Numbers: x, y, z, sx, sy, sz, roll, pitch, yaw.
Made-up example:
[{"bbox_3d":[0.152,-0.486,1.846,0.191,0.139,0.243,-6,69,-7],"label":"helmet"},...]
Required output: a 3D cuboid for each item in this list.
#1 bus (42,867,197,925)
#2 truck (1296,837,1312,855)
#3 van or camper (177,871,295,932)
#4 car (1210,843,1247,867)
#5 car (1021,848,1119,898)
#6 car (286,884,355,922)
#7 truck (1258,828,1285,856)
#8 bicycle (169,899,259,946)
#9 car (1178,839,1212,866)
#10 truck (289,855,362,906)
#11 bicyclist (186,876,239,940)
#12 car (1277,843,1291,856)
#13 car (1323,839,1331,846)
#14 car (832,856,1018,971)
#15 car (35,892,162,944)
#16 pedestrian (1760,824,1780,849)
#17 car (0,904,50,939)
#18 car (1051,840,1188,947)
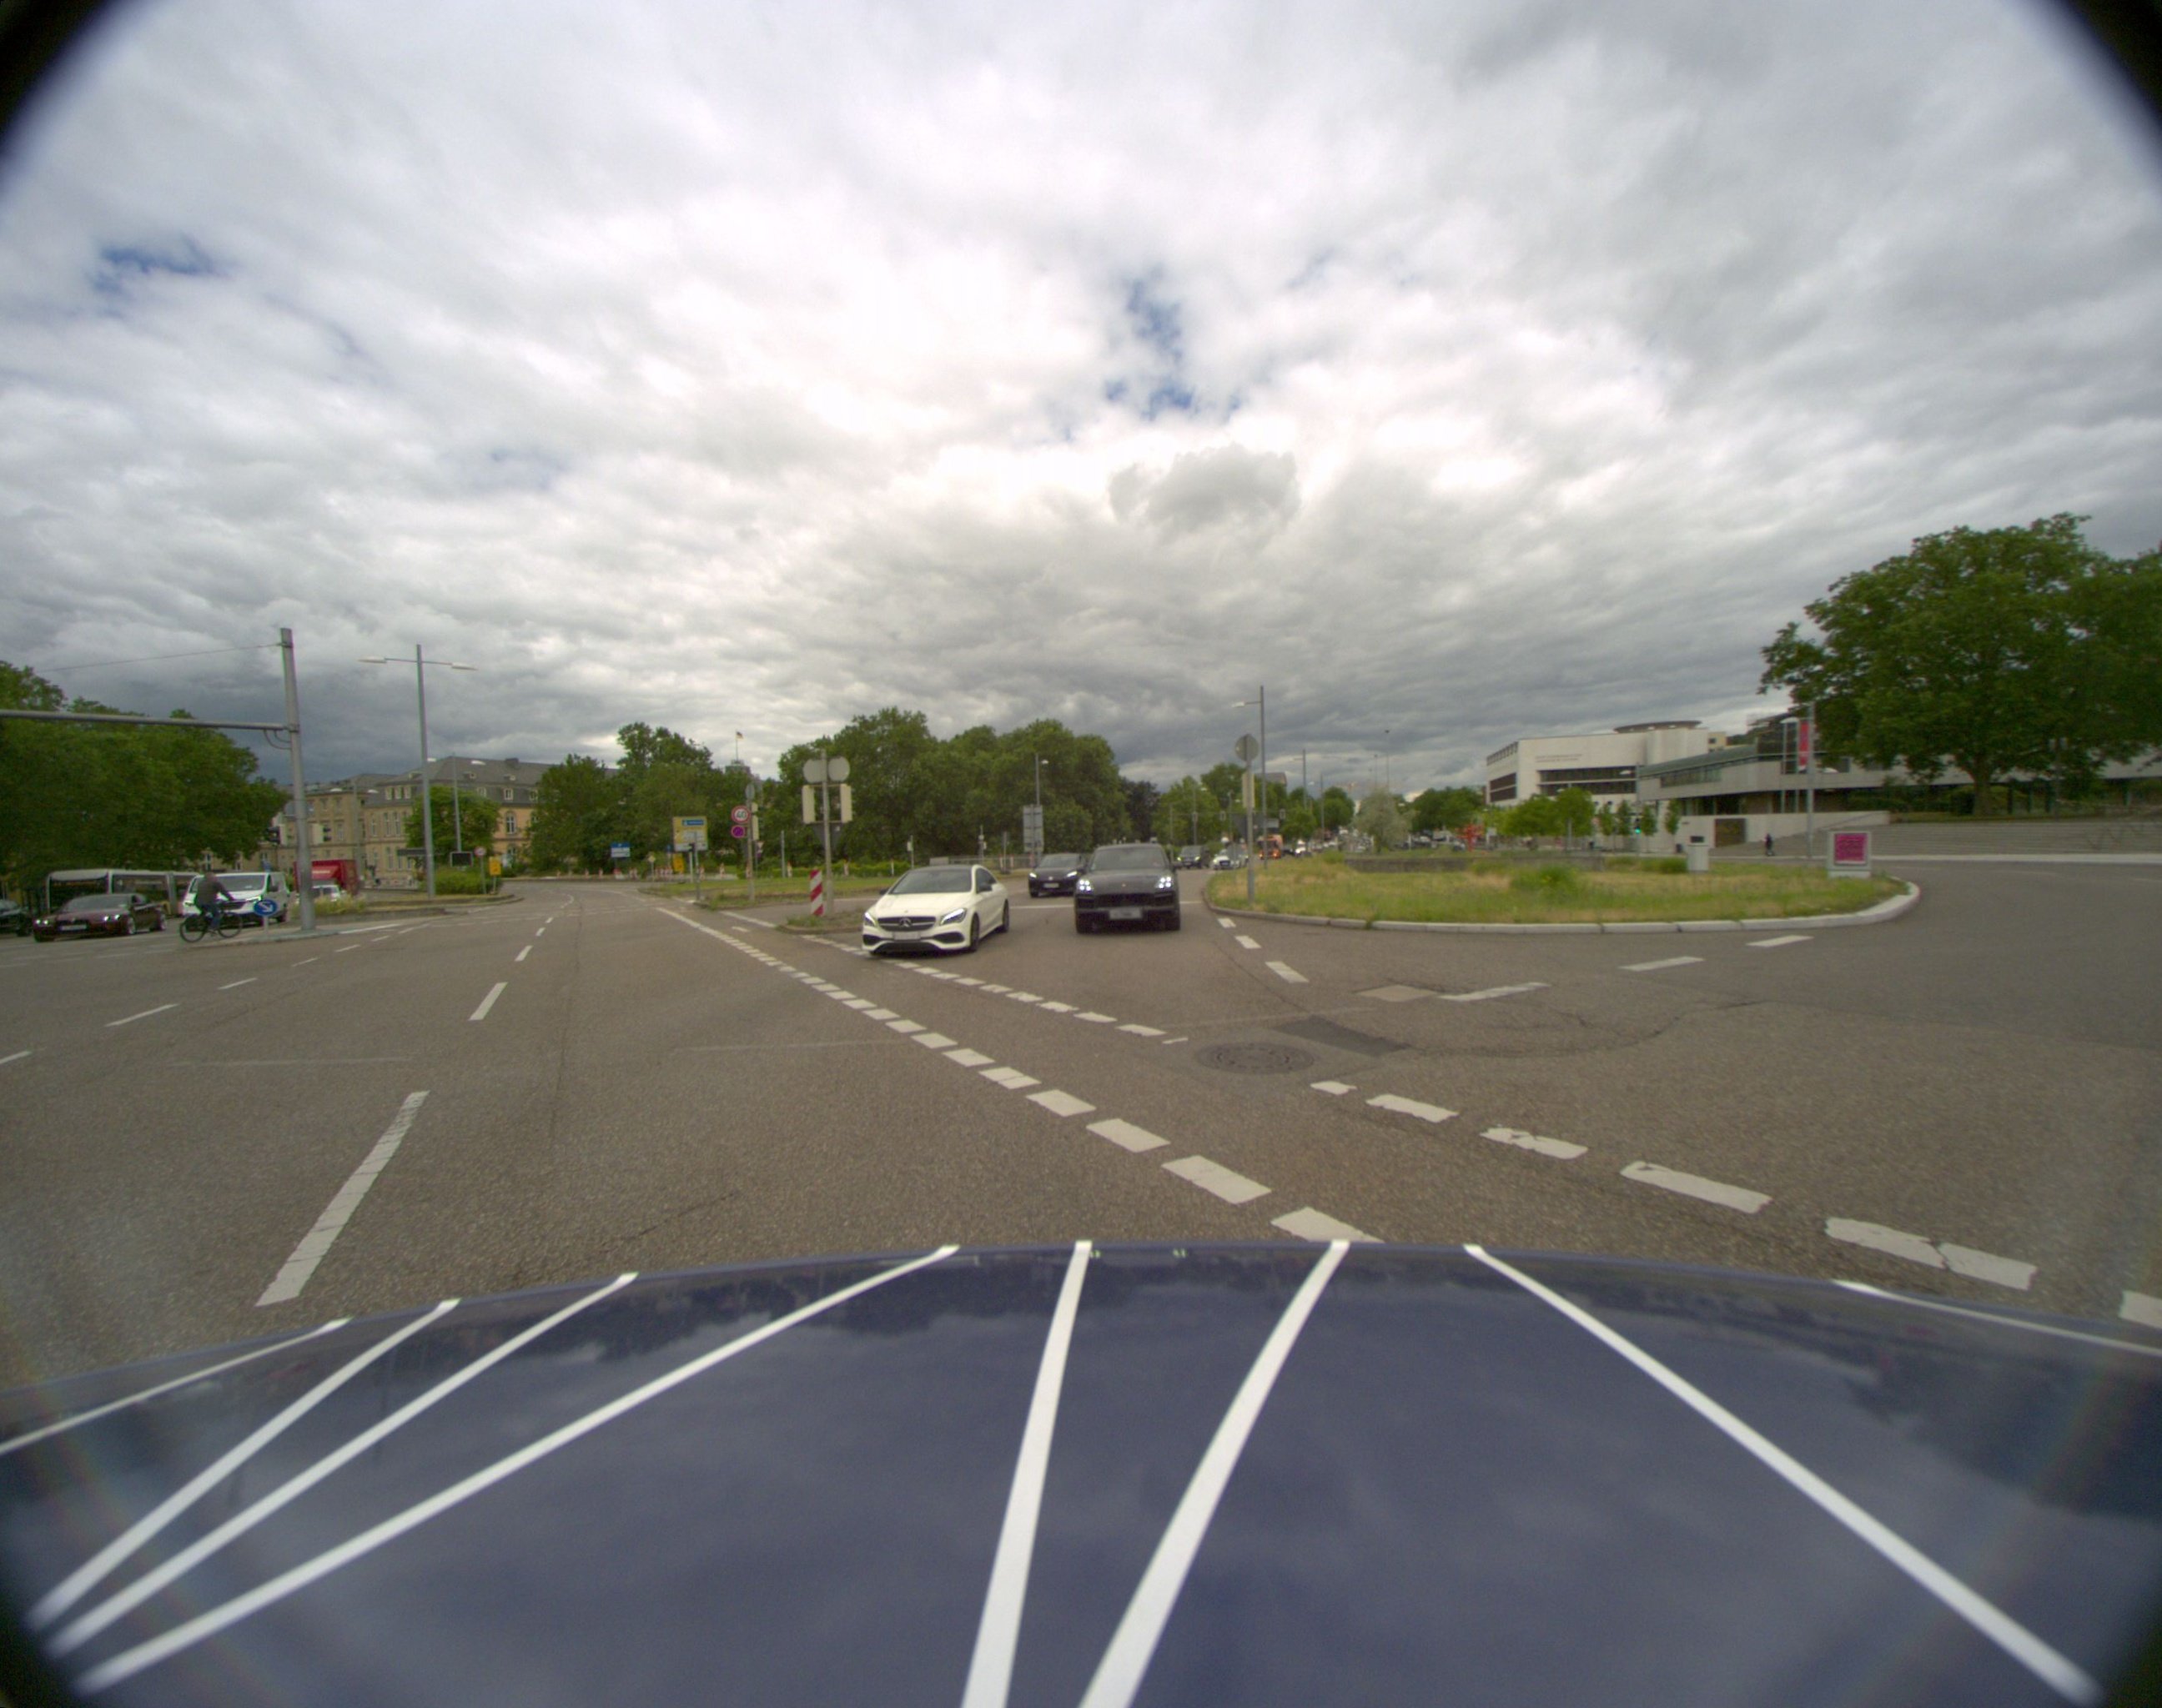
[{"bbox_3d":[-62.444,2.547,49.845,3.441,3.185,13.028,-3,1,-39],"label":"bus"},{"bbox_3d":[35.838,-1.341,121.840,1.952,2.768,5.796,-2,1,21],"label":"truck"},{"bbox_3d":[-29.932,1.596,27.088,1.869,1.905,4.701,-3,1,-37],"label":"van or camper"},{"bbox_3d":[10.750,0.055,55.115,2.092,1.600,4.417,-1,1,18],"label":"car"},{"bbox_3d":[-0.279,0.639,27.753,1.996,1.537,4.574,-2,2,21],"label":"car"},{"bbox_3d":[-40.215,2.552,40.287,2.003,1.744,3.950,-3,1,-37],"label":"car"},{"bbox_3d":[26.952,-1.738,107.432,2.723,3.595,9.190,-2,1,19],"label":"truck"},{"bbox_3d":[-23.194,1.815,20.371,0.505,1.066,1.727,-2,1,-7],"label":"bicycle"},{"bbox_3d":[9.163,-0.153,60.889,1.857,1.976,4.647,-1,1,19],"label":"car"},{"bbox_3d":[-57.184,1.921,57.699,2.797,3.470,8.328,-3,1,-38],"label":"truck"},{"bbox_3d":[-23.203,1.424,20.313,0.505,1.630,0.721,-2,1,-7],"label":"bicyclist"},{"bbox_3d":[32.944,-0.726,123.329,1.780,1.897,3.804,-2,1,20],"label":"car"},{"bbox_3d":[66.242,-3.004,204.733,1.780,1.835,3.804,-2,1,23],"label":"car"},{"bbox_3d":[-2.502,0.895,13.527,1.869,1.560,4.653,-2,1,6],"label":"car"},{"bbox_3d":[-32.601,2.066,25.334,1.744,1.392,3.701,-3,1,-39],"label":"car"},{"bbox_3d":[48.514,-1.228,53.522,0.682,1.738,0.892,-2,1,15],"label":"pedestrian"},{"bbox_3d":[-43.162,2.712,30.217,1.626,1.228,3.230,-3,1,-36],"label":"car"},{"bbox_3d":[0.959,0.608,14.842,2.003,1.629,5.023,-3,1,10],"label":"car"}]
